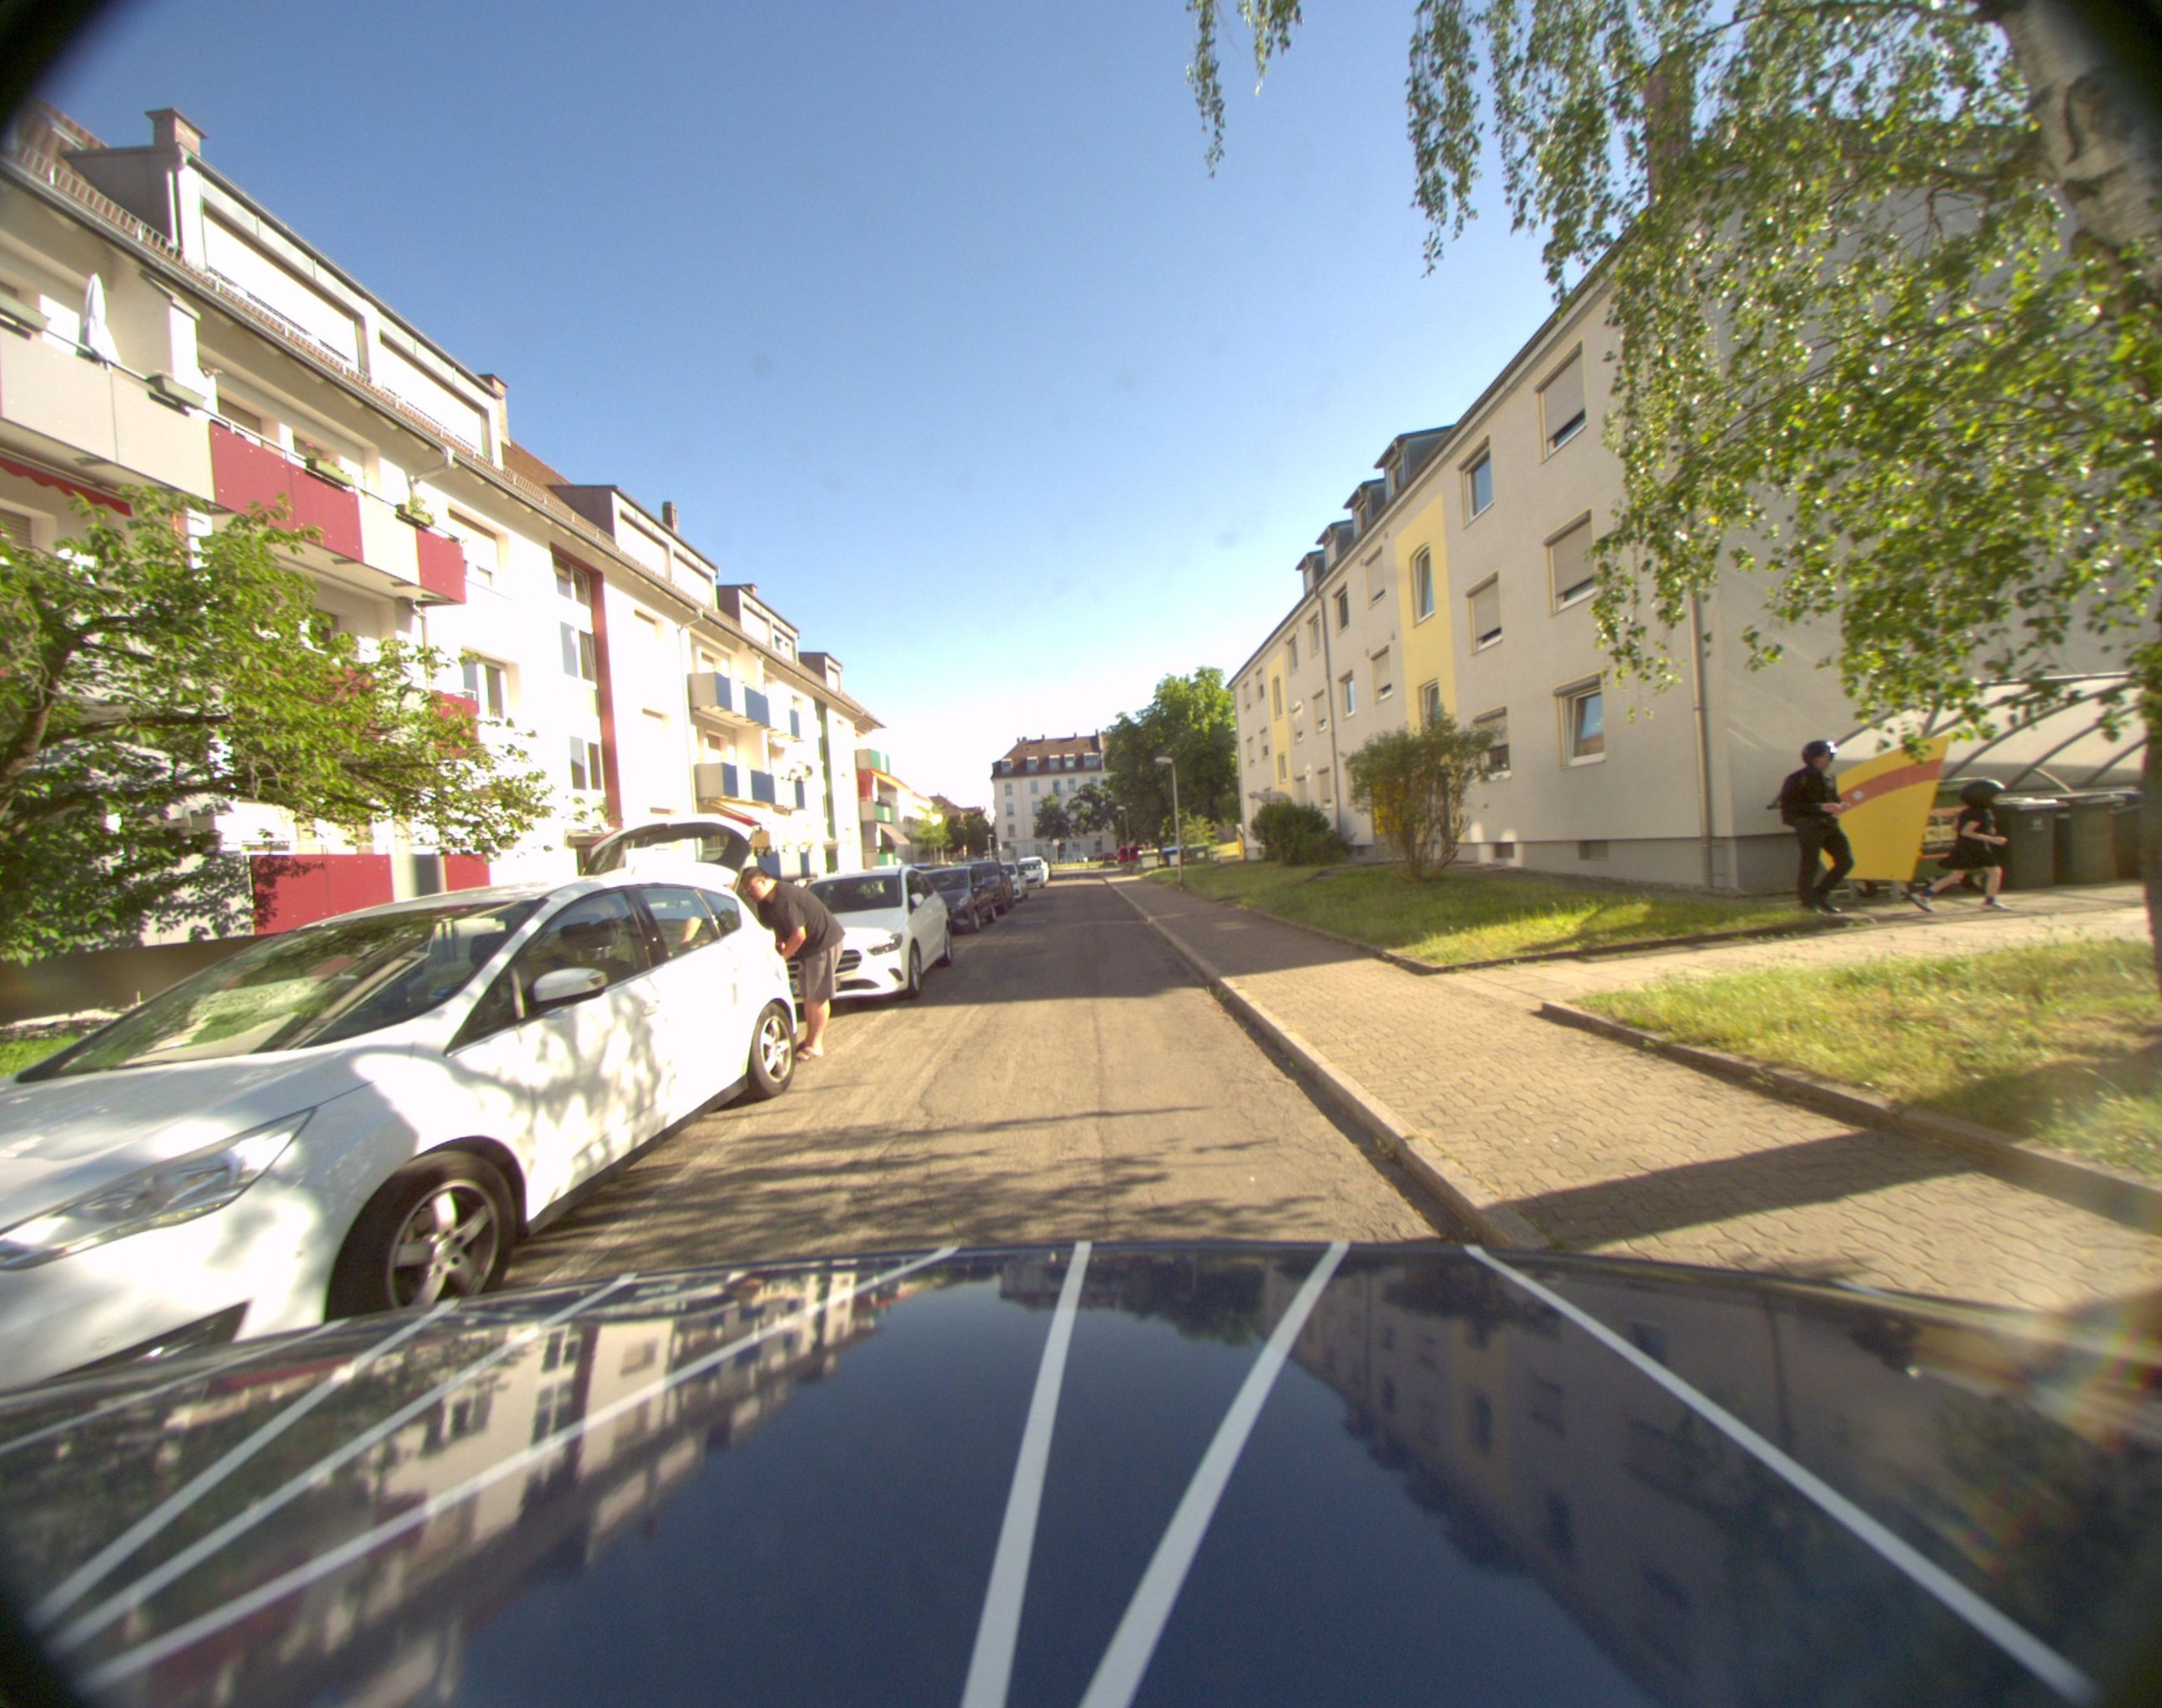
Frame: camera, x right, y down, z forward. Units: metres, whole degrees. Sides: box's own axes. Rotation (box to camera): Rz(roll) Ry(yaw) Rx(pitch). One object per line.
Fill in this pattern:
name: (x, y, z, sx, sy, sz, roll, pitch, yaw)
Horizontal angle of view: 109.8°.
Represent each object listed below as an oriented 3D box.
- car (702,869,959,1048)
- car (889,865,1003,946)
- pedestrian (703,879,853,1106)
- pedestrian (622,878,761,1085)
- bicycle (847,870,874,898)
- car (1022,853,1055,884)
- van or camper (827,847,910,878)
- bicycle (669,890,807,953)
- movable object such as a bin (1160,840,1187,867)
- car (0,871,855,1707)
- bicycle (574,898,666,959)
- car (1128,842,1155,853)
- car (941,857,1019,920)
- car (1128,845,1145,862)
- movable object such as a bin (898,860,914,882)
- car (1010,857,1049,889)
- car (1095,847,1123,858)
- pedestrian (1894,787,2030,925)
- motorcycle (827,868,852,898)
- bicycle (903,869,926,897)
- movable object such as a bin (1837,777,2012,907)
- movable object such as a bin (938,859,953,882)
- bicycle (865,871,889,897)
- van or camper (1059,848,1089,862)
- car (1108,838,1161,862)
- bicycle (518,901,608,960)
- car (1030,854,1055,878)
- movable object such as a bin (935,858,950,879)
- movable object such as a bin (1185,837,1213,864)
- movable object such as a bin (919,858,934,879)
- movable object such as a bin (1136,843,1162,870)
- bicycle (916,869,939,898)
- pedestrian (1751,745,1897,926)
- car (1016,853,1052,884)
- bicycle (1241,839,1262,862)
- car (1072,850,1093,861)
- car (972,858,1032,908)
car: (-2.795, 1.059, 9.637, 1.777, 1.496, 4.479, -4, 1, -2)
car: (-3.025, 1.110, 17.844, 1.650, 1.441, 4.061, -5, 1, 3)
pedestrian: (-2.303, 1.008, 5.886, 0.741, 1.566, 0.879, -2, 1, 0)
pedestrian: (-3.374, 1.077, 6.639, 0.821, 1.677, 0.604, -2, 1, 0)
bicycle: (-9.742, 1.301, 33.651, 0.598, 1.109, 1.872, -3, 1, -1)
car: (-2.895, 0.950, 52.683, 1.855, 1.790, 4.253, -7, 1, -1)
van or camper: (-19.673, 0.750, 70.612, 6.980, 2.486, 2.177, -3, 1, 2)
bicycle: (-7.077, 1.381, 15.735, 2.429, 1.123, 0.879, -3, 1, 6)
movable object such as a bin: (5.682, -0.035, 46.904, 1.358, 1.451, 1.082, -8, 1, 0)
car: (-3.062, 1.049, 3.922, 1.998, 1.603, 4.995, -5, 0, 2)
bicycle: (-9.738, 1.539, 16.175, 0.521, 1.043, 2.288, -1, 1, 0)
car: (8.901, -0.984, 112.086, 3.787, 1.437, 1.624, -3, 1, 2)
car: (-2.925, 0.946, 22.792, 1.728, 1.569, 4.352, -3, 1, -1)
car: (5.787, -0.049, 79.884, 1.678, 1.645, 3.305, -3, 1, 4)
movable object such as a bin: (-12.517, 1.188, 54.363, 0.866, 1.511, 0.922, -3, 1, -2)
car: (-2.682, 0.947, 40.165, 1.695, 1.410, 4.097, -6, 1, -1)
car: (4.167, -0.185, 112.139, 3.996, 1.477, 1.722, -3, 1, 2)
pedestrian: (8.944, 0.018, 7.736, 0.687, 1.309, 0.575, -3, 1, 1)
motorcycle: (-10.744, 1.291, 33.828, 0.442, 1.231, 1.976, -2, 1, 0)
bicycle: (-7.342, 1.253, 33.587, 0.579, 1.126, 1.872, -2, 0, -1)
movable object such as a bin: (9.917, -0.137, 8.973, 1.087, 1.398, 0.812, -4, 1, 1)
movable object such as a bin: (-8.963, 1.106, 50.314, 0.866, 1.439, 0.921, -3, 1, -4)
bicycle: (-9.014, 1.298, 33.593, 0.539, 1.076, 1.872, -1, 0, -1)
van or camper: (-1.001, 0.115, 112.427, 4.355, 1.852, 1.999, -3, 1, -2)
car: (5.193, -0.388, 73.945, 4.992, 2.002, 2.000, -3, 1, 3)
bicycle: (-11.055, 1.604, 16.307, 0.521, 1.031, 1.975, -2, 1, 0)
car: (-2.904, 0.886, 58.303, 1.728, 1.528, 3.951, -6, 1, -2)
movable object such as a bin: (-9.921, 1.016, 54.392, 0.866, 1.439, 0.921, -3, 1, -4)
movable object such as a bin: (7.264, -0.232, 46.926, 1.363, 1.445, 1.072, -8, 1, 0)
movable object such as a bin: (-11.032, 1.030, 54.239, 0.866, 1.439, 0.921, -3, 1, -4)
movable object such as a bin: (4.201, 0.151, 46.836, 1.318, 1.451, 1.198, -7, 1, 0)
bicycle: (-6.630, 1.247, 32.841, 0.546, 1.163, 1.873, -2, 1, 1)
pedestrian: (7.914, -0.192, 8.129, 0.808, 1.813, 0.718, -3, 1, 1)
car: (-2.750, 0.845, 45.475, 1.805, 1.583, 4.580, -5, 1, -1)
bicycle: (9.731, -0.187, 43.393, 0.642, 1.243, 2.009, -4, 1, 0)
car: (0.248, 0.192, 117.103, 3.192, 1.499, 1.545, -2, 1, 0)
car: (-2.847, 1.008, 28.096, 1.717, 1.501, 3.853, -6, 1, -1)
